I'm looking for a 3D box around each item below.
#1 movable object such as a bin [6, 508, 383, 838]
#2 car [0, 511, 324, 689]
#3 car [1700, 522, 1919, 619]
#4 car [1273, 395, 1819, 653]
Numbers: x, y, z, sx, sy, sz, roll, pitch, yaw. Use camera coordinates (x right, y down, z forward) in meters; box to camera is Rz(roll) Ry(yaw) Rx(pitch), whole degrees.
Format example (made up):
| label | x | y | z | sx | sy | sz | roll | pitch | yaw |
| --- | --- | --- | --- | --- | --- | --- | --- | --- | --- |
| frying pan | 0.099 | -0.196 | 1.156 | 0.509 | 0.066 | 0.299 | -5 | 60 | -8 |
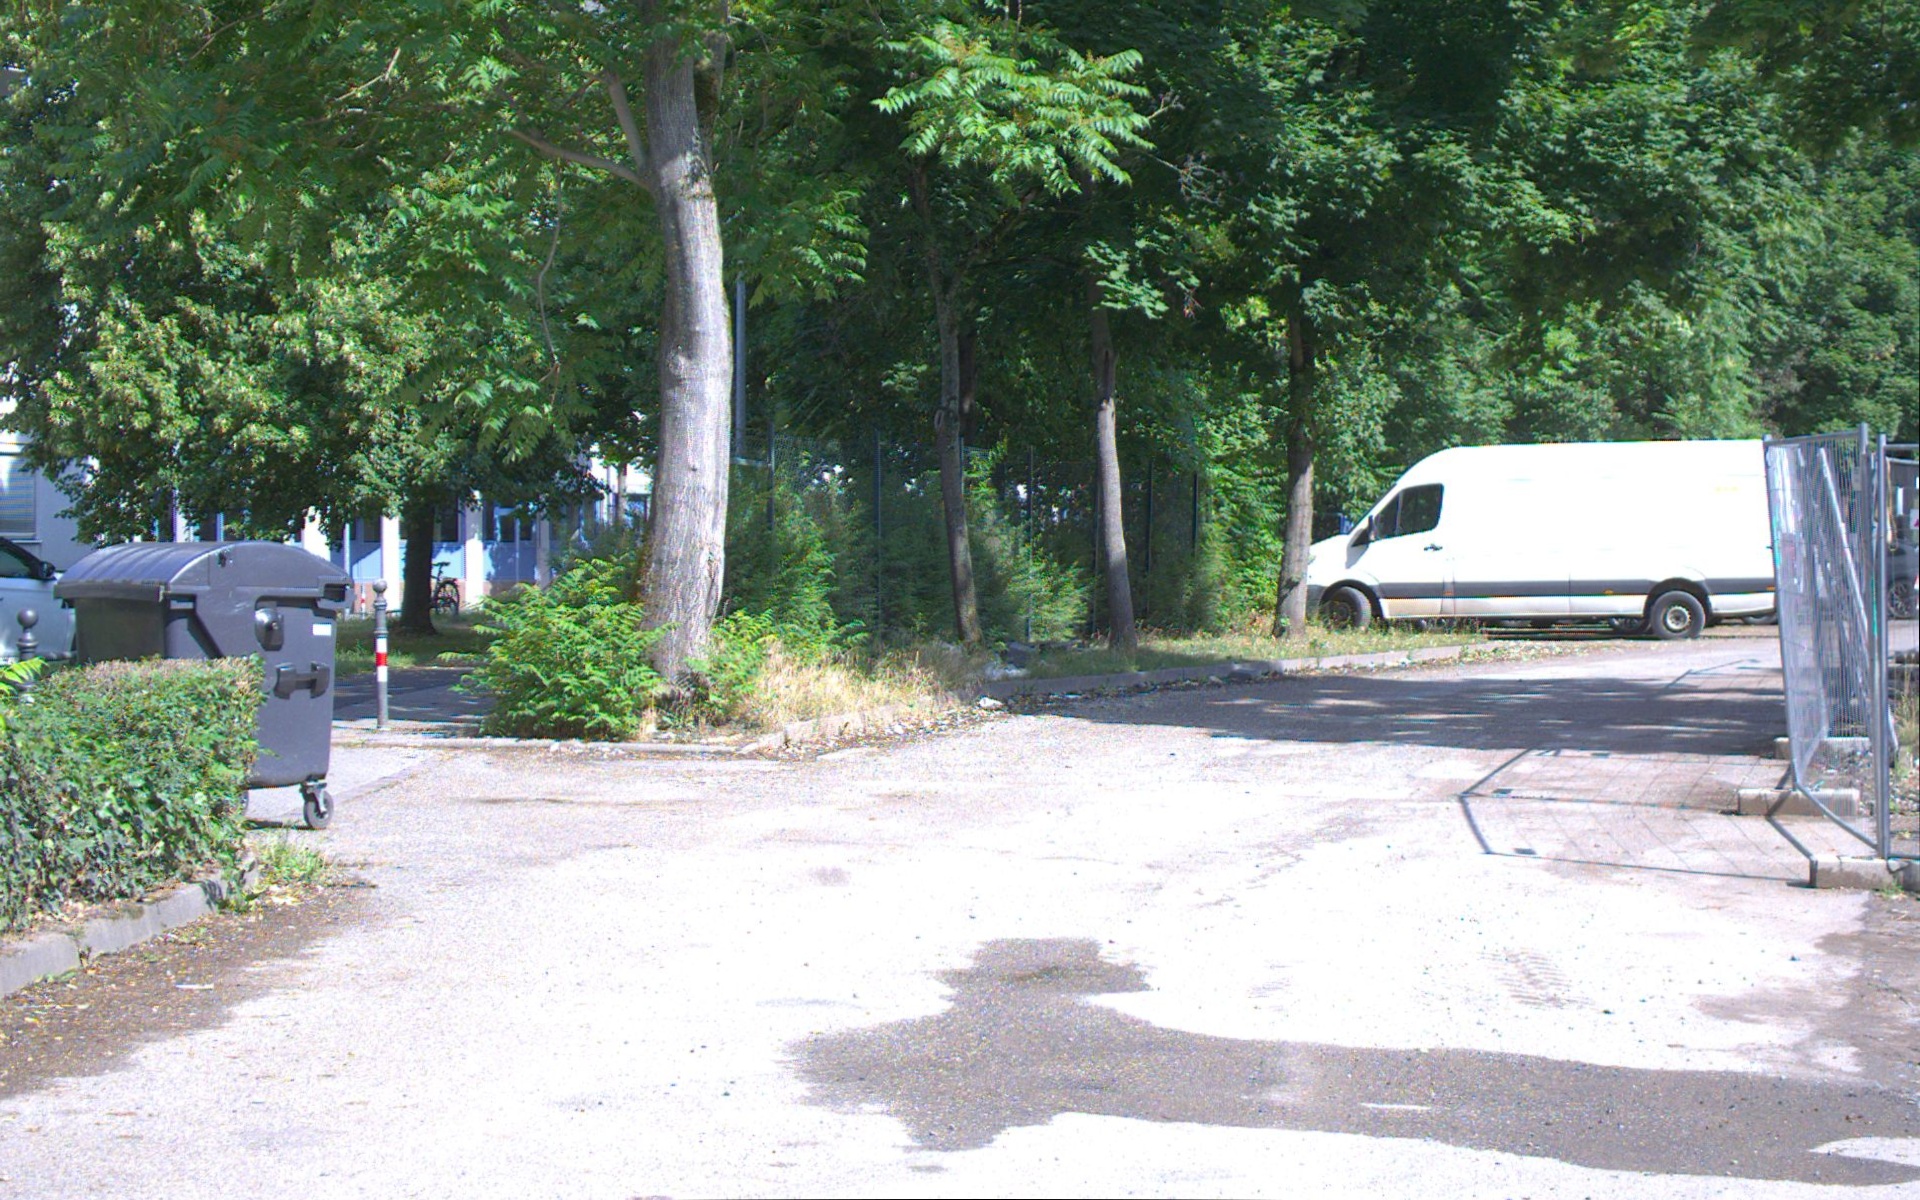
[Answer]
| label | x | y | z | sx | sy | sz | roll | pitch | yaw |
| --- | --- | --- | --- | --- | --- | --- | --- | --- | --- |
| movable object such as a bin | -3.811 | 0.359 | 17.093 | 1.246 | 1.477 | 1.296 | 4 | 1 | -41 |
| car | -7.436 | -0.040 | 29.609 | 1.756 | 1.415 | 3.910 | 2 | 1 | 29 |
| car | 14.636 | -0.483 | 57.590 | 3.993 | 1.423 | 1.842 | 3 | -1 | 27 |
| car | 7.898 | -1.037 | 46.296 | 6.957 | 3.037 | 1.999 | 3 | 1 | 14 |
